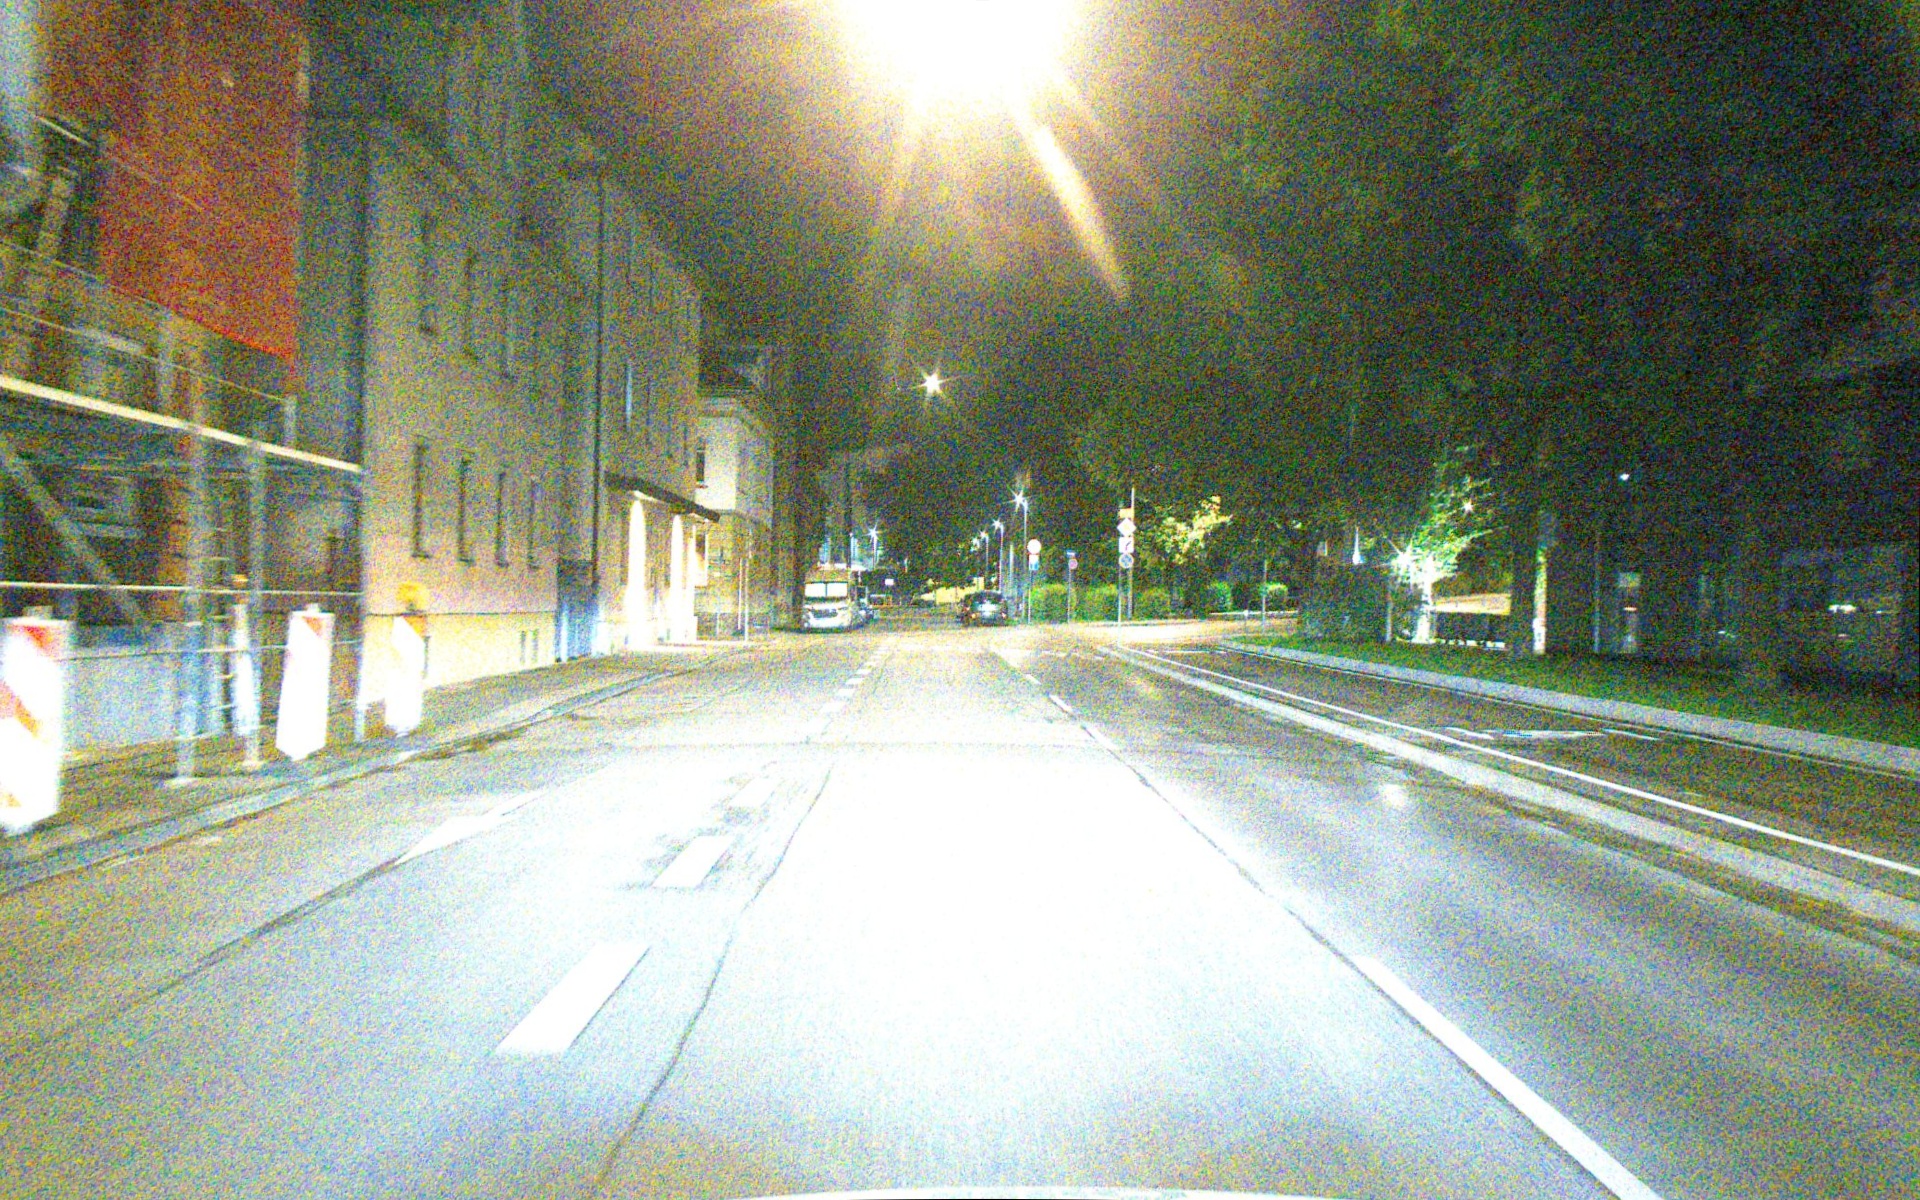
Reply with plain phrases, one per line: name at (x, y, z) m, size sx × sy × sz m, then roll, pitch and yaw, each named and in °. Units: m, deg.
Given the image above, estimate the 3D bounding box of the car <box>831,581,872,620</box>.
car at (-5.741, 0.035, 87.956) m, size 1.953 × 1.989 × 4.804 m, roll 0°, pitch 0°, yaw -1°

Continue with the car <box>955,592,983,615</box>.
car at (0.613, 0.214, 111.187) m, size 1.722 × 1.470 × 4.024 m, roll 0°, pitch 0°, yaw -2°

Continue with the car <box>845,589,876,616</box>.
car at (-5.988, 0.178, 99.906) m, size 1.670 × 1.536 × 4.098 m, roll 1°, pitch -1°, yaw -2°

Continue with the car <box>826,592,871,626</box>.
car at (-5.255, 0.430, 77.505) m, size 1.804 × 1.533 × 4.734 m, roll 0°, pitch 0°, yaw -8°

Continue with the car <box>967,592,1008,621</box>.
car at (1.343, 0.352, 82.404) m, size 1.923 × 1.407 × 3.999 m, roll 0°, pitch 0°, yaw -1°

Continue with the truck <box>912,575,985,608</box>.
truck at (-1.109, -0.815, 154.585) m, size 6.642 × 2.894 × 1.998 m, roll 1°, pitch 0°, yaw -4°

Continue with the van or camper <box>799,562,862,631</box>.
van or camper at (-5.157, -0.135, 66.461) m, size 2.114 × 2.580 × 6.225 m, roll -2°, pitch 0°, yaw -1°

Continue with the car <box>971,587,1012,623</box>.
car at (1.449, 0.233, 77.062) m, size 1.845 × 1.631 × 4.107 m, roll -1°, pitch 0°, yaw 1°

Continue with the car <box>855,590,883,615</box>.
car at (-5.798, 0.178, 105.768) m, size 1.643 × 1.594 × 4.104 m, roll 0°, pitch 0°, yaw -1°
